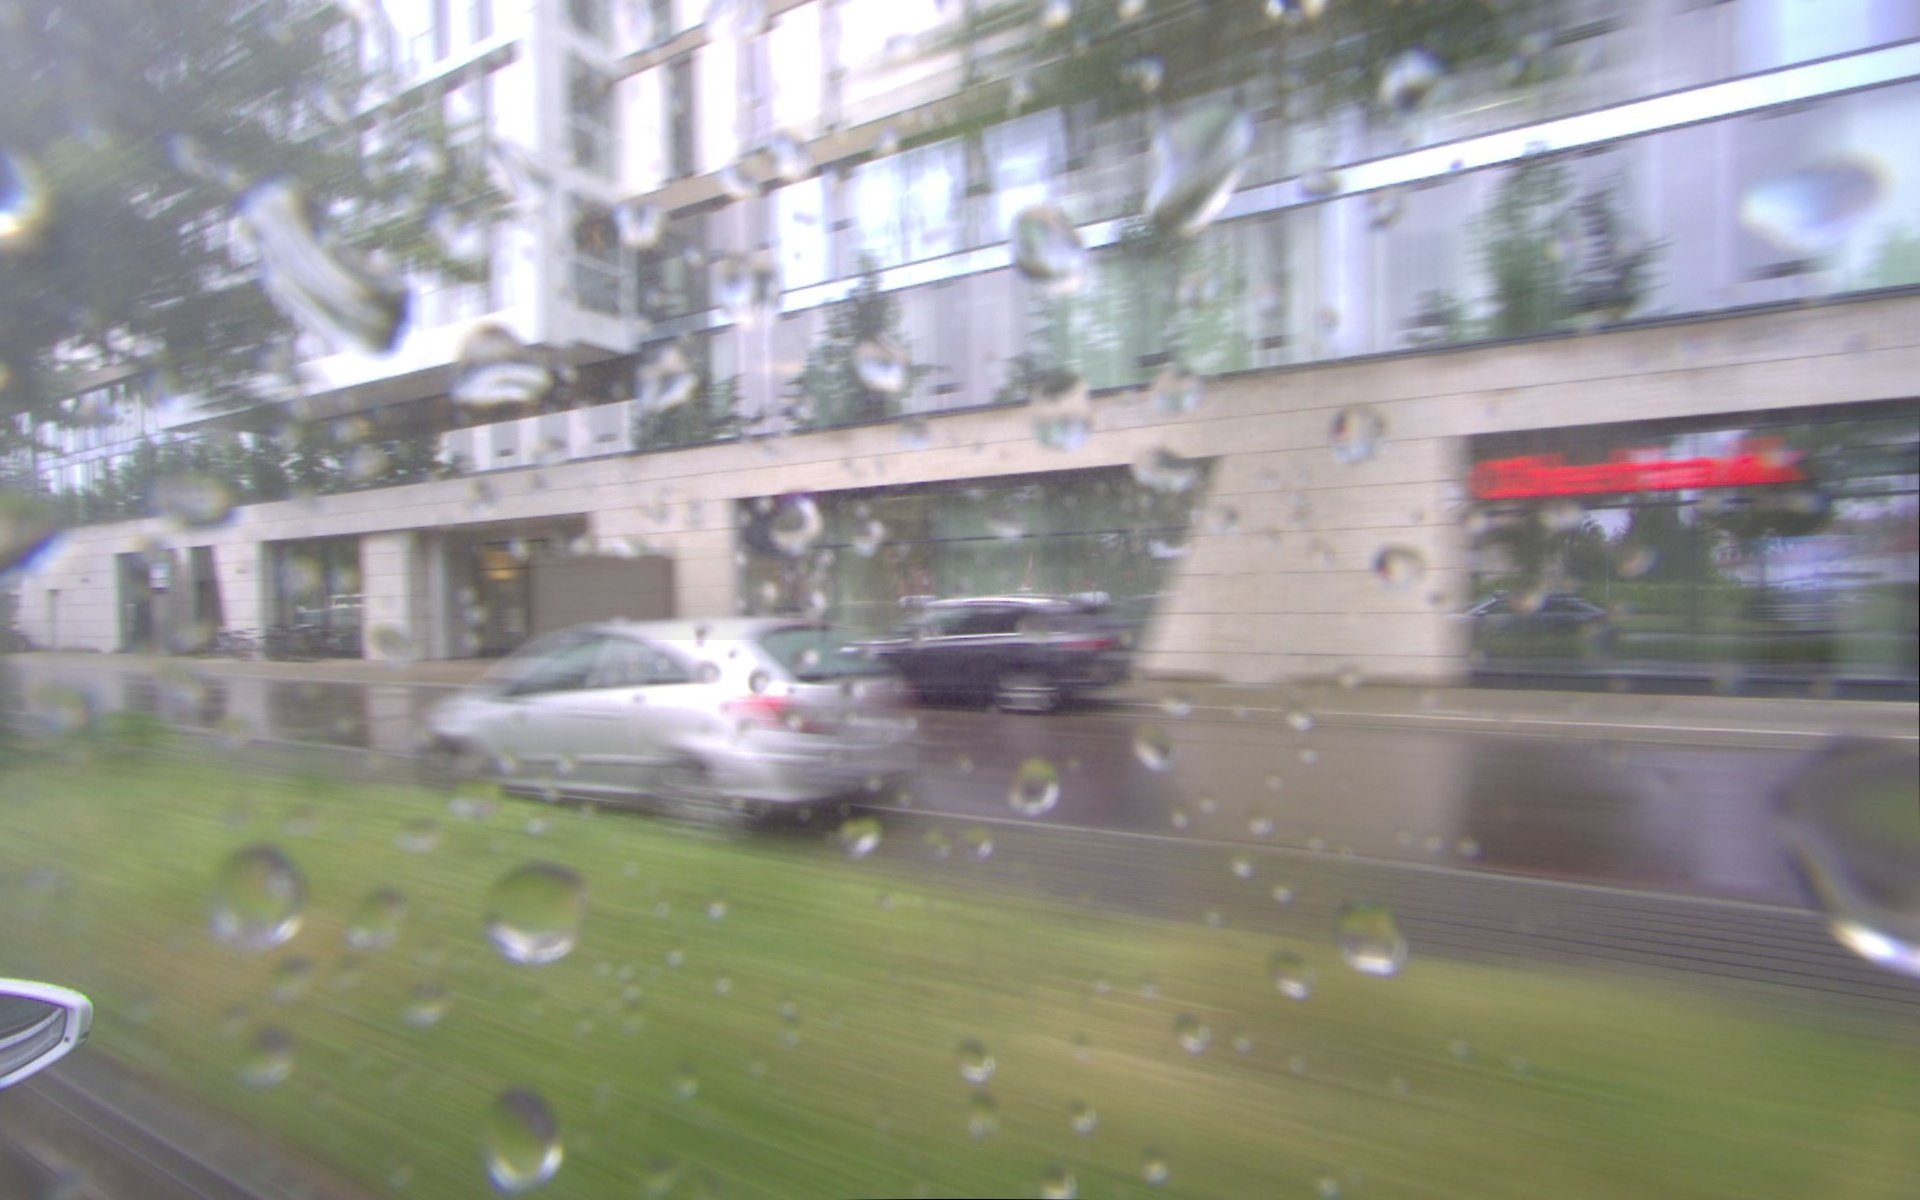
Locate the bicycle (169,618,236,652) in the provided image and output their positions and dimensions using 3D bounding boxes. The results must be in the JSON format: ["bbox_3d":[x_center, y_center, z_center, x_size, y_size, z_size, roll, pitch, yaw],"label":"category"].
[{"bbox_3d":[-24.404,1.118,32.283,0.417,1.042,1.689,0,0,33],"label":"bicycle"}]

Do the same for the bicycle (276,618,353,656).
[{"bbox_3d":[-18.733,1.065,29.094,0.533,1.042,1.802,-1,0,33],"label":"bicycle"}]

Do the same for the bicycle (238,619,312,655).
[{"bbox_3d":[-20.870,1.121,30.548,0.533,1.042,1.802,-1,0,33],"label":"bicycle"}]

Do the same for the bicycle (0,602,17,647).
[{"bbox_3d":[-39.670,0.951,41.046,3.073,1.746,0.643,2,2,31],"label":"bicycle"}]

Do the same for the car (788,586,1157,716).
[{"bbox_3d":[0.096,0.584,14.267,4.960,1.522,1.989,1,3,32],"label":"car"}]

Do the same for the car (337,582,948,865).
[{"bbox_3d":[-2.570,0.684,7.728,4.652,1.526,1.878,2,2,30],"label":"car"}]

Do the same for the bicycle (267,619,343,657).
[{"bbox_3d":[-19.231,1.099,29.432,0.533,1.042,1.802,-1,0,33],"label":"bicycle"}]

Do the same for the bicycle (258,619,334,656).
[{"bbox_3d":[-19.725,1.095,29.768,0.533,1.042,1.802,-1,0,33],"label":"bicycle"}]

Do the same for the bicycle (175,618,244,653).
[{"bbox_3d":[-23.980,1.121,32.023,0.417,1.042,1.689,0,0,33],"label":"bicycle"}]

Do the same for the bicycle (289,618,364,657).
[{"bbox_3d":[-18.149,1.064,28.725,0.396,1.042,1.802,0,0,33],"label":"bicycle"}]

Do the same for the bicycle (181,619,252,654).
[{"bbox_3d":[-23.534,1.133,31.725,0.406,1.042,1.746,0,0,33],"label":"bicycle"}]

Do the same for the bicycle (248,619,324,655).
[{"bbox_3d":[-20.257,1.096,30.126,0.533,1.042,1.802,-1,0,33],"label":"bicycle"}]

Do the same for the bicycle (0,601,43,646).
[{"bbox_3d":[-39.320,0.946,41.749,3.073,1.746,0.771,2,2,31],"label":"bicycle"}]
